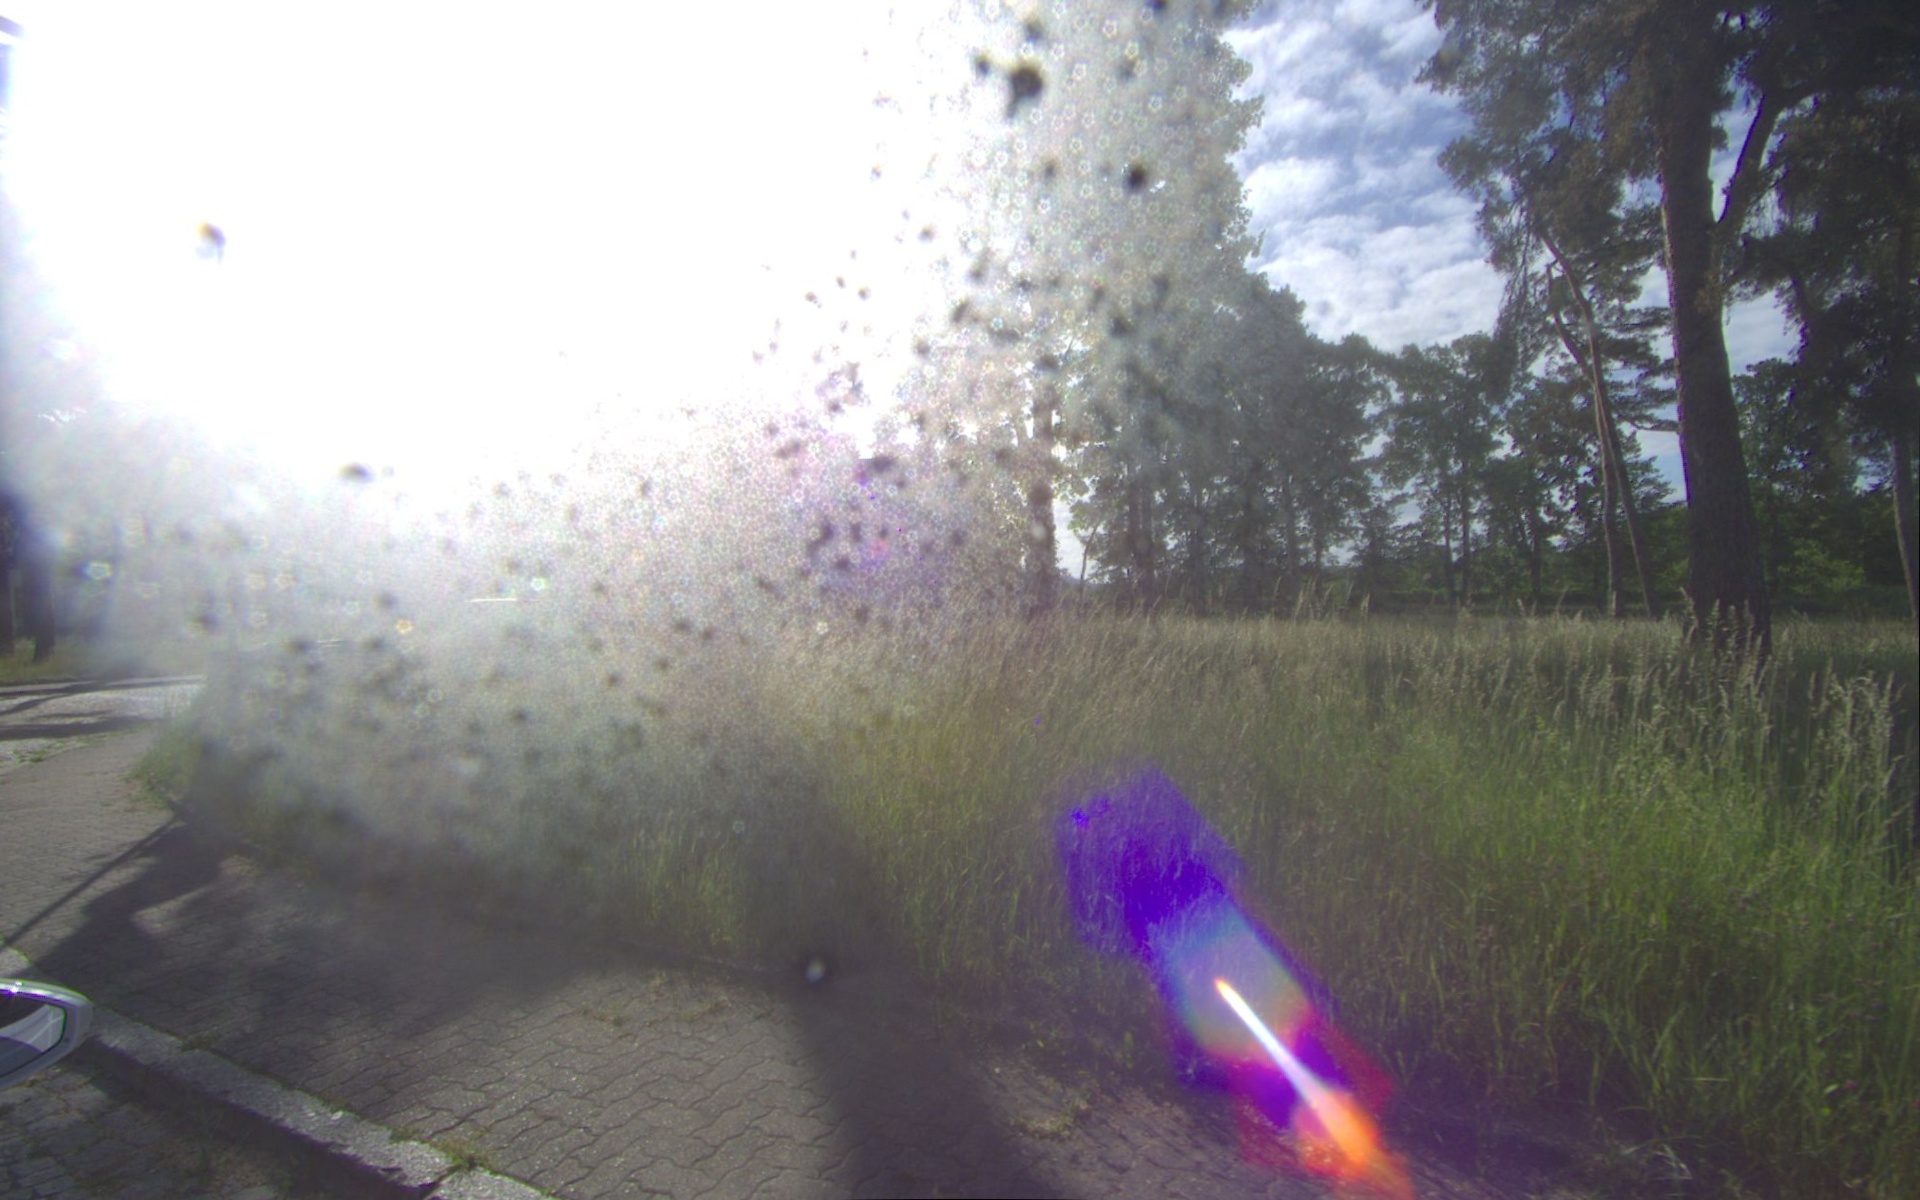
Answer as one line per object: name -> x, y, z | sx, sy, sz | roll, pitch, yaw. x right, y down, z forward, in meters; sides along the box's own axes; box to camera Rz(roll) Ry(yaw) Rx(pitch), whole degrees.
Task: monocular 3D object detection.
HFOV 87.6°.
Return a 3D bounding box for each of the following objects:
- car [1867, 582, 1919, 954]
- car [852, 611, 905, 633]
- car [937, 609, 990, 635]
car -> 3.946, 0.665, 2.369 | 1.843, 1.480, 4.009 | -1, 0, 30
car -> -5.626, 1.505, 69.264 | 1.818, 1.483, 3.985 | -1, 0, 27
car -> 0.285, 1.405, 64.772 | 1.826, 1.619, 3.985 | -1, 0, 27
